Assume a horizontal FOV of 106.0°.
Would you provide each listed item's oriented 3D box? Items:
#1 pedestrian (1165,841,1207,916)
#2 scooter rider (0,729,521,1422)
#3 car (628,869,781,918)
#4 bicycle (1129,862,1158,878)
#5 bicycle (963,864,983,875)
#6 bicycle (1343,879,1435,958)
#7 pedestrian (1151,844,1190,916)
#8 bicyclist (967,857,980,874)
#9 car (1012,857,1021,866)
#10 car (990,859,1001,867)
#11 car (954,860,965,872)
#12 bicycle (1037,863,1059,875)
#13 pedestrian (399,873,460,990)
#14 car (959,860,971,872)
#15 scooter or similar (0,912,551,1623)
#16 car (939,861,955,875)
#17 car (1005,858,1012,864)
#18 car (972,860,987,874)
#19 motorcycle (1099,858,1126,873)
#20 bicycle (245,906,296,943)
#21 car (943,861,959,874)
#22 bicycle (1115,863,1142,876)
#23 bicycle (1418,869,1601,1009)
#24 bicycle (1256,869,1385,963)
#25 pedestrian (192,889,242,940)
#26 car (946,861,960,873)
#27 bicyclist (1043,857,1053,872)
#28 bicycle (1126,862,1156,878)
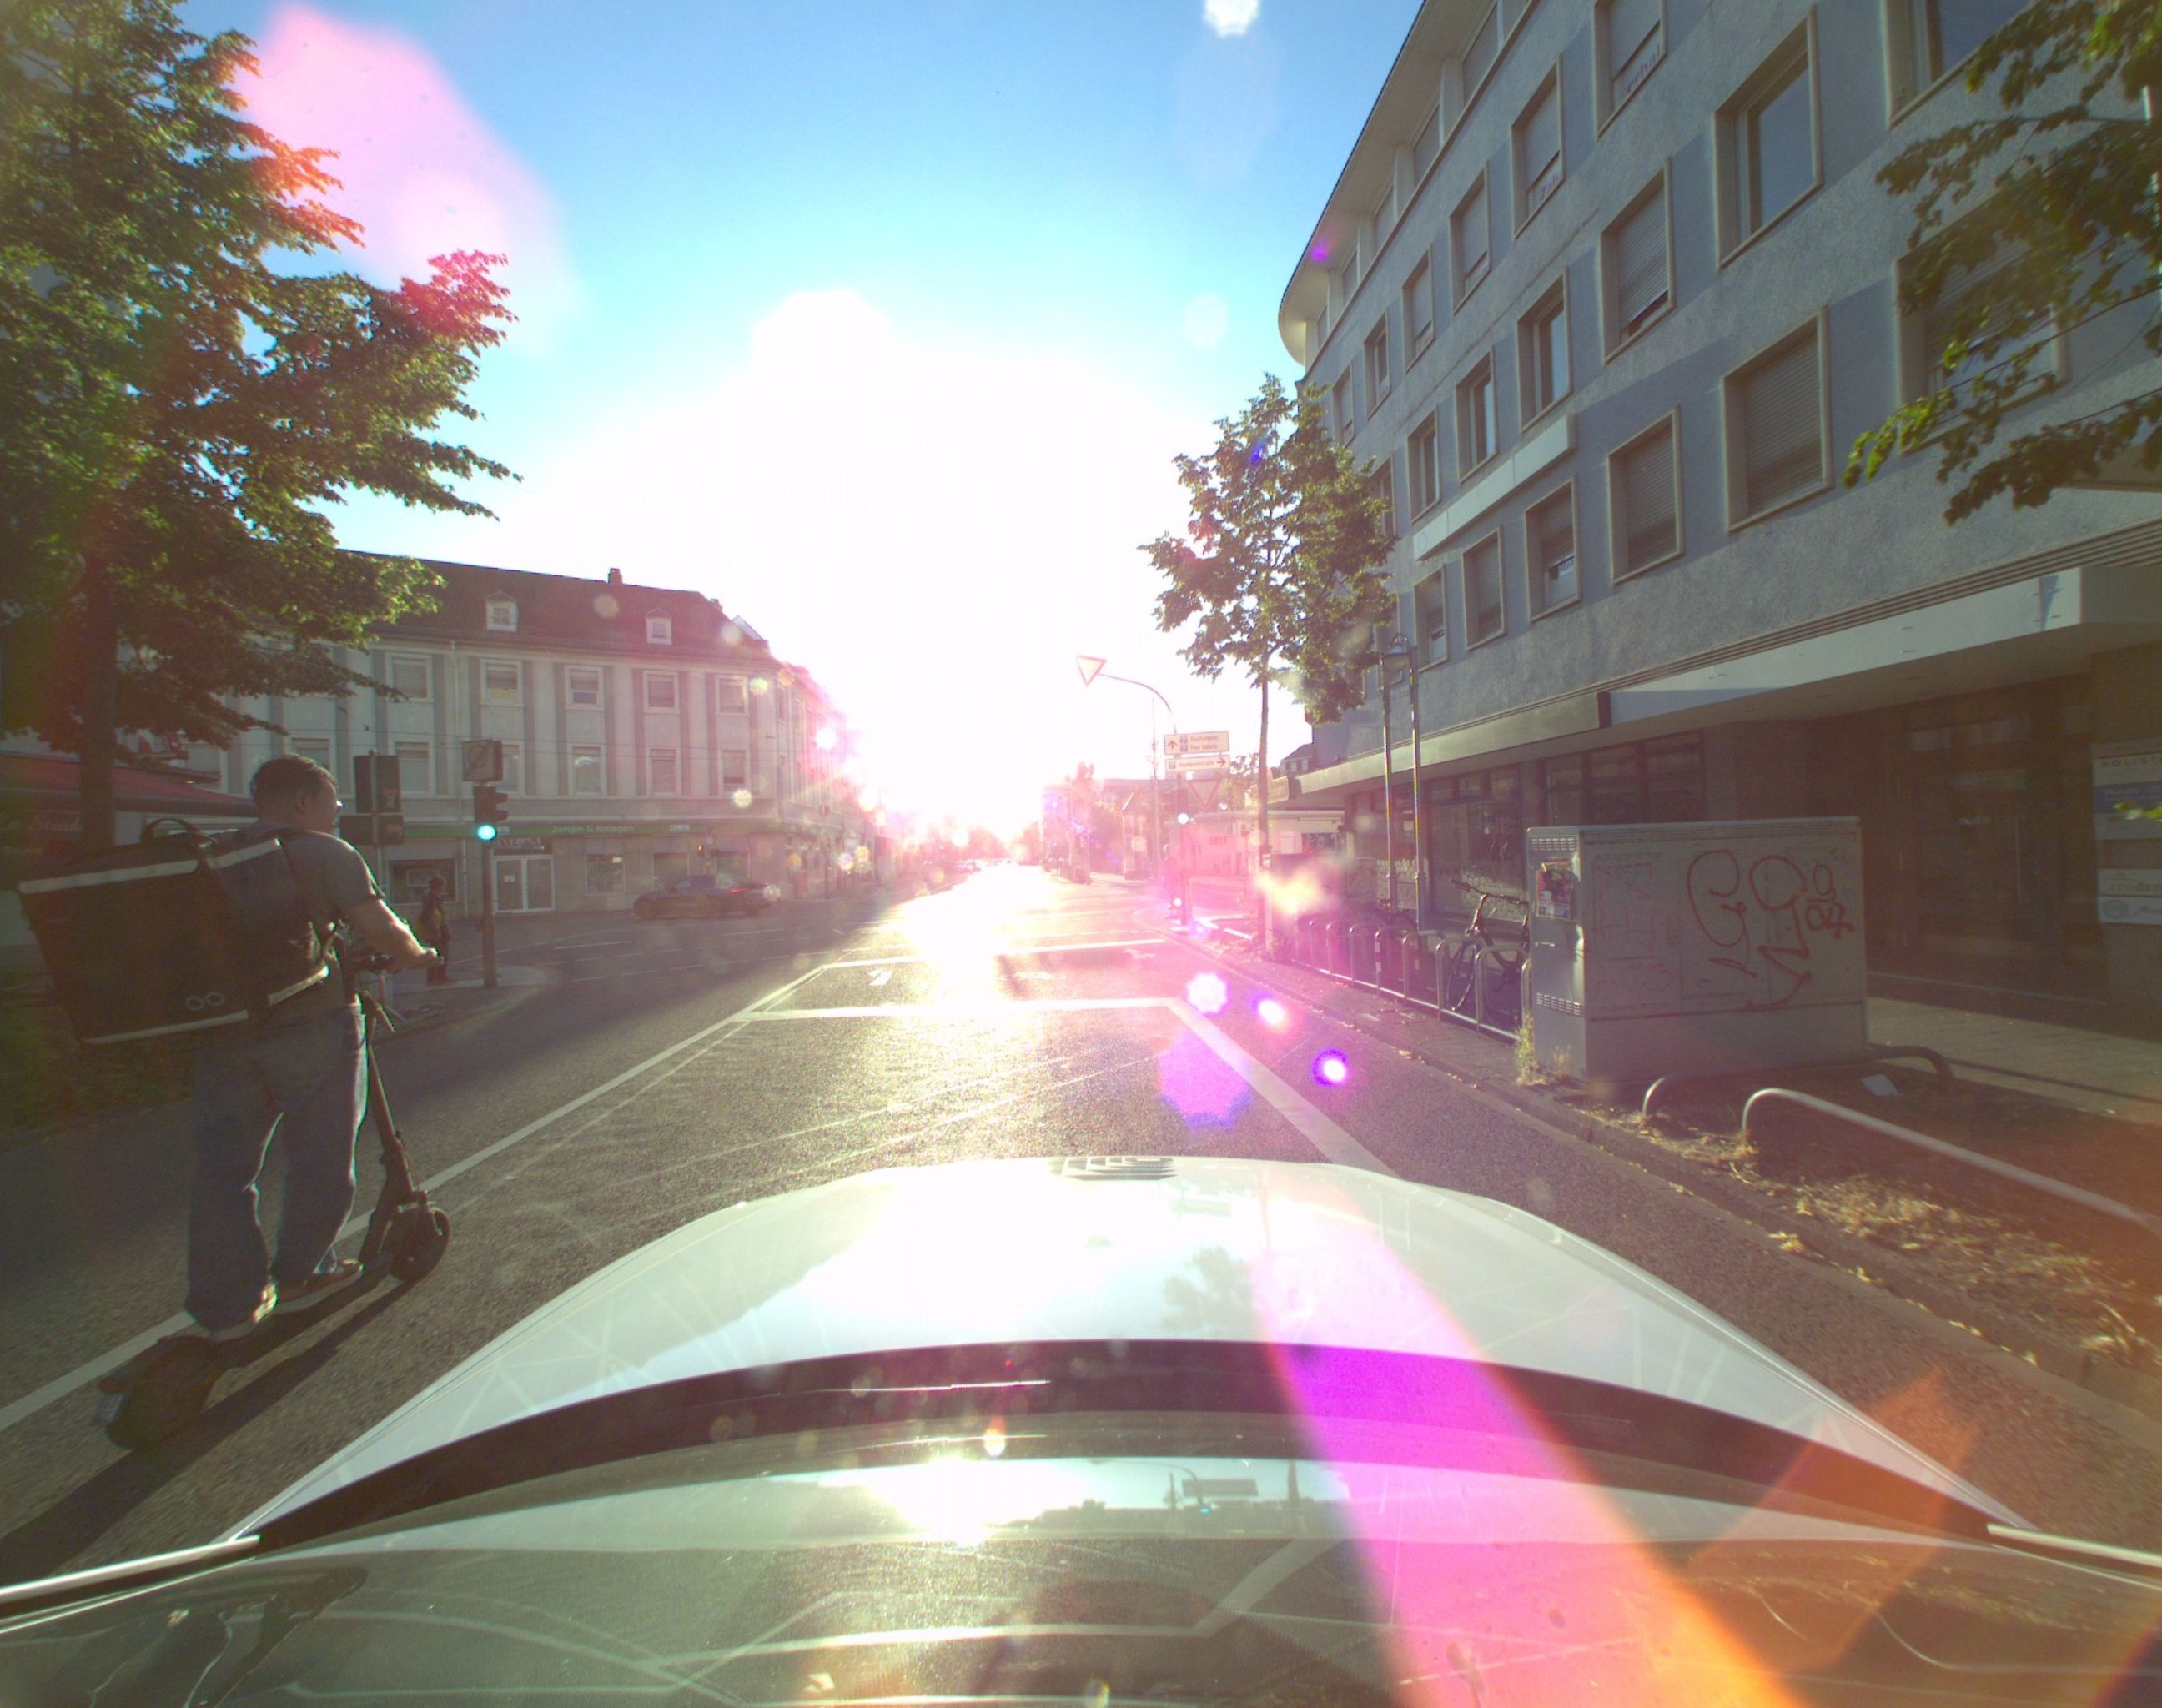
[{"bbox_3d":[2.549,0.586,19.795,0.640,1.773,0.743,-2,0,-26],"label":"pedestrian"},{"bbox_3d":[-2.439,0.577,2.541,0.809,1.807,0.788,0,-1,-1],"label":"scooter rider"},{"bbox_3d":[-12.382,1.296,26.796,4.490,1.480,1.906,-2,-2,20],"label":"car"},{"bbox_3d":[4.441,1.152,58.231,2.012,1.044,0.560,-2,-1,2],"label":"bicycle"},{"bbox_3d":[-11.551,1.654,87.247,2.101,1.204,0.502,-1,-1,16],"label":"bicycle"},{"bbox_3d":[4.441,0.900,11.867,0.403,1.010,1.664,-4,0,-10],"label":"bicycle"},{"bbox_3d":[2.269,0.649,20.722,0.589,1.773,0.741,-1,-1,-36],"label":"pedestrian"},{"bbox_3d":[-11.526,1.203,87.212,1.120,1.791,0.768,-1,-1,17],"label":"bicyclist"},{"bbox_3d":[-14.050,1.635,177.265,1.990,2.014,3.993,0,-1,-5],"label":"car"},{"bbox_3d":[-17.744,1.835,169.883,1.989,1.684,3.995,-2,0,-3],"label":"car"},{"bbox_3d":[-16.314,1.638,109.466,1.305,1.582,2.883,-1,-1,-5],"label":"car"},{"bbox_3d":[-3.339,1.540,82.057,2.105,1.204,0.501,0,-1,8],"label":"bicycle"},{"bbox_3d":[-9.673,1.118,12.116,0.589,1.656,0.792,-1,-1,-32],"label":"pedestrian"},{"bbox_3d":[-16.415,1.677,115.262,1.481,1.559,3.252,-1,-1,-6],"label":"car"},{"bbox_3d":[-2.443,0.919,2.512,0.543,1.350,1.668,-1,0,-2],"label":"scooter or similar"},{"bbox_3d":[-15.485,1.591,94.143,1.543,1.484,3.345,-2,0,-6],"label":"car"},{"bbox_3d":[-21.667,2.150,243.787,1.989,1.816,3.995,-2,0,-3],"label":"car"},{"bbox_3d":[-11.666,1.511,93.885,1.543,1.468,3.345,-1,-1,-6],"label":"car"},{"bbox_3d":[2.589,0.955,67.058,2.227,1.201,0.720,-2,0,0],"label":"motorcycle"},{"bbox_3d":[-26.774,2.304,26.935,0.498,1.059,1.731,-1,0,-20],"label":"bicycle"},{"bbox_3d":[-15.604,1.611,97.817,1.543,1.469,3.345,-1,-1,-6],"label":"car"},{"bbox_3d":[3.725,1.205,63.956,2.069,0.982,0.560,-2,-1,2],"label":"bicycle"},{"bbox_3d":[4.065,0.763,7.718,1.661,1.194,0.491,-1,0,-18],"label":"bicycle"},{"bbox_3d":[3.294,0.831,11.239,1.657,1.194,0.476,-1,0,-11],"label":"bicycle"},{"bbox_3d":[-29.593,2.059,27.913,0.812,1.640,0.824,-2,1,-13],"label":"pedestrian"},{"bbox_3d":[-16.149,1.665,102.757,1.543,1.469,3.345,-1,-1,-6],"label":"car"},{"bbox_3d":[-3.358,1.065,82.089,0.894,1.482,0.737,0,-1,8],"label":"bicyclist"},{"bbox_3d":[4.368,1.170,59.295,2.138,1.043,0.560,-2,-1,2],"label":"bicycle"}]
